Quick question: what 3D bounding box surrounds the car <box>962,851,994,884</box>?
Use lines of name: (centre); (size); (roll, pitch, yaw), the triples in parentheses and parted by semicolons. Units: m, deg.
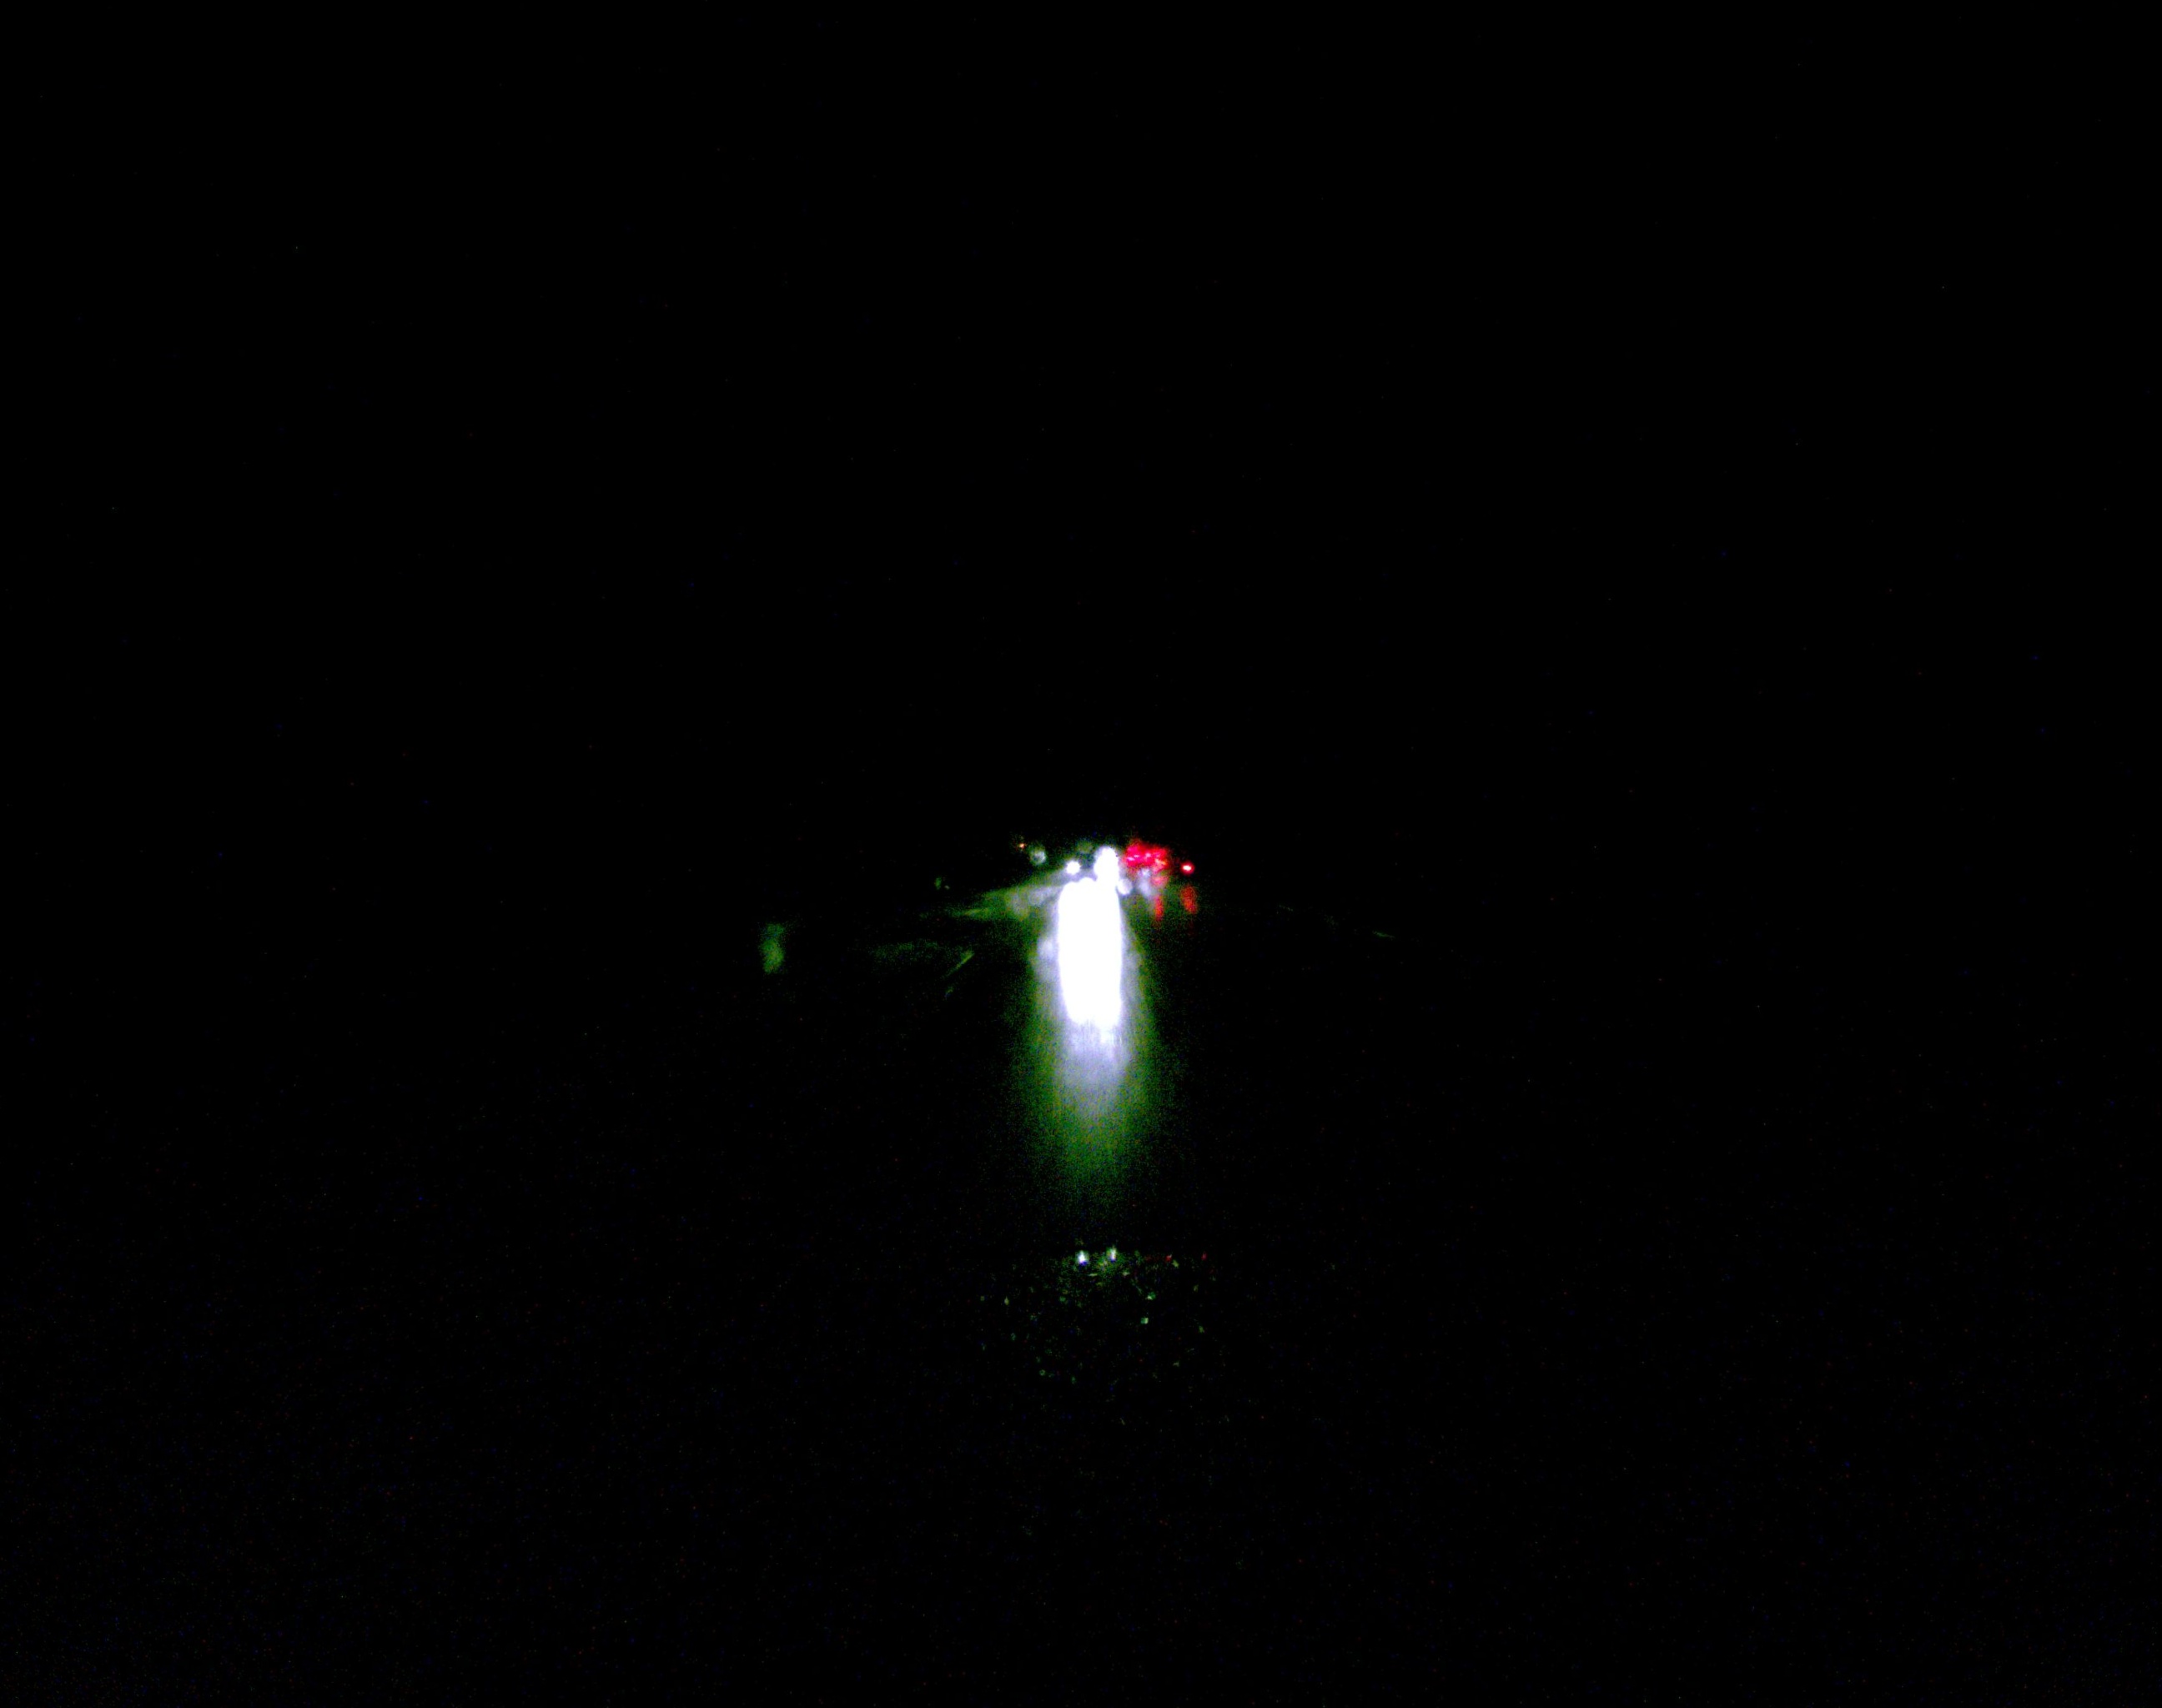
car: (-7.176, 0.906, 53.281); (1.883, 2.028, 4.388); (-4, 1, -5)

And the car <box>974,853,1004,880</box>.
car: (-6.950, 0.911, 57.813); (1.883, 1.799, 4.154); (-4, 1, -3)

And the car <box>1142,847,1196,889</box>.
car: (3.615, 0.542, 31.677); (1.806, 1.501, 3.614); (-3, 1, 1)

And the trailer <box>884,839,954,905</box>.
trailer: (-6.441, 0.644, 30.764); (1.634, 2.351, 4.652); (-6, 1, -1)

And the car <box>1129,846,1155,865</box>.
car: (5.170, 0.084, 64.912); (1.998, 1.451, 4.898); (-2, 1, 2)

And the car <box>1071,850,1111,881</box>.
car: (0.545, 0.598, 41.430); (1.998, 1.412, 3.999); (-4, 1, 0)

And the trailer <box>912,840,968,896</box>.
trailer: (-6.606, 0.590, 36.000); (1.609, 2.339, 4.430); (-6, 1, -1)
